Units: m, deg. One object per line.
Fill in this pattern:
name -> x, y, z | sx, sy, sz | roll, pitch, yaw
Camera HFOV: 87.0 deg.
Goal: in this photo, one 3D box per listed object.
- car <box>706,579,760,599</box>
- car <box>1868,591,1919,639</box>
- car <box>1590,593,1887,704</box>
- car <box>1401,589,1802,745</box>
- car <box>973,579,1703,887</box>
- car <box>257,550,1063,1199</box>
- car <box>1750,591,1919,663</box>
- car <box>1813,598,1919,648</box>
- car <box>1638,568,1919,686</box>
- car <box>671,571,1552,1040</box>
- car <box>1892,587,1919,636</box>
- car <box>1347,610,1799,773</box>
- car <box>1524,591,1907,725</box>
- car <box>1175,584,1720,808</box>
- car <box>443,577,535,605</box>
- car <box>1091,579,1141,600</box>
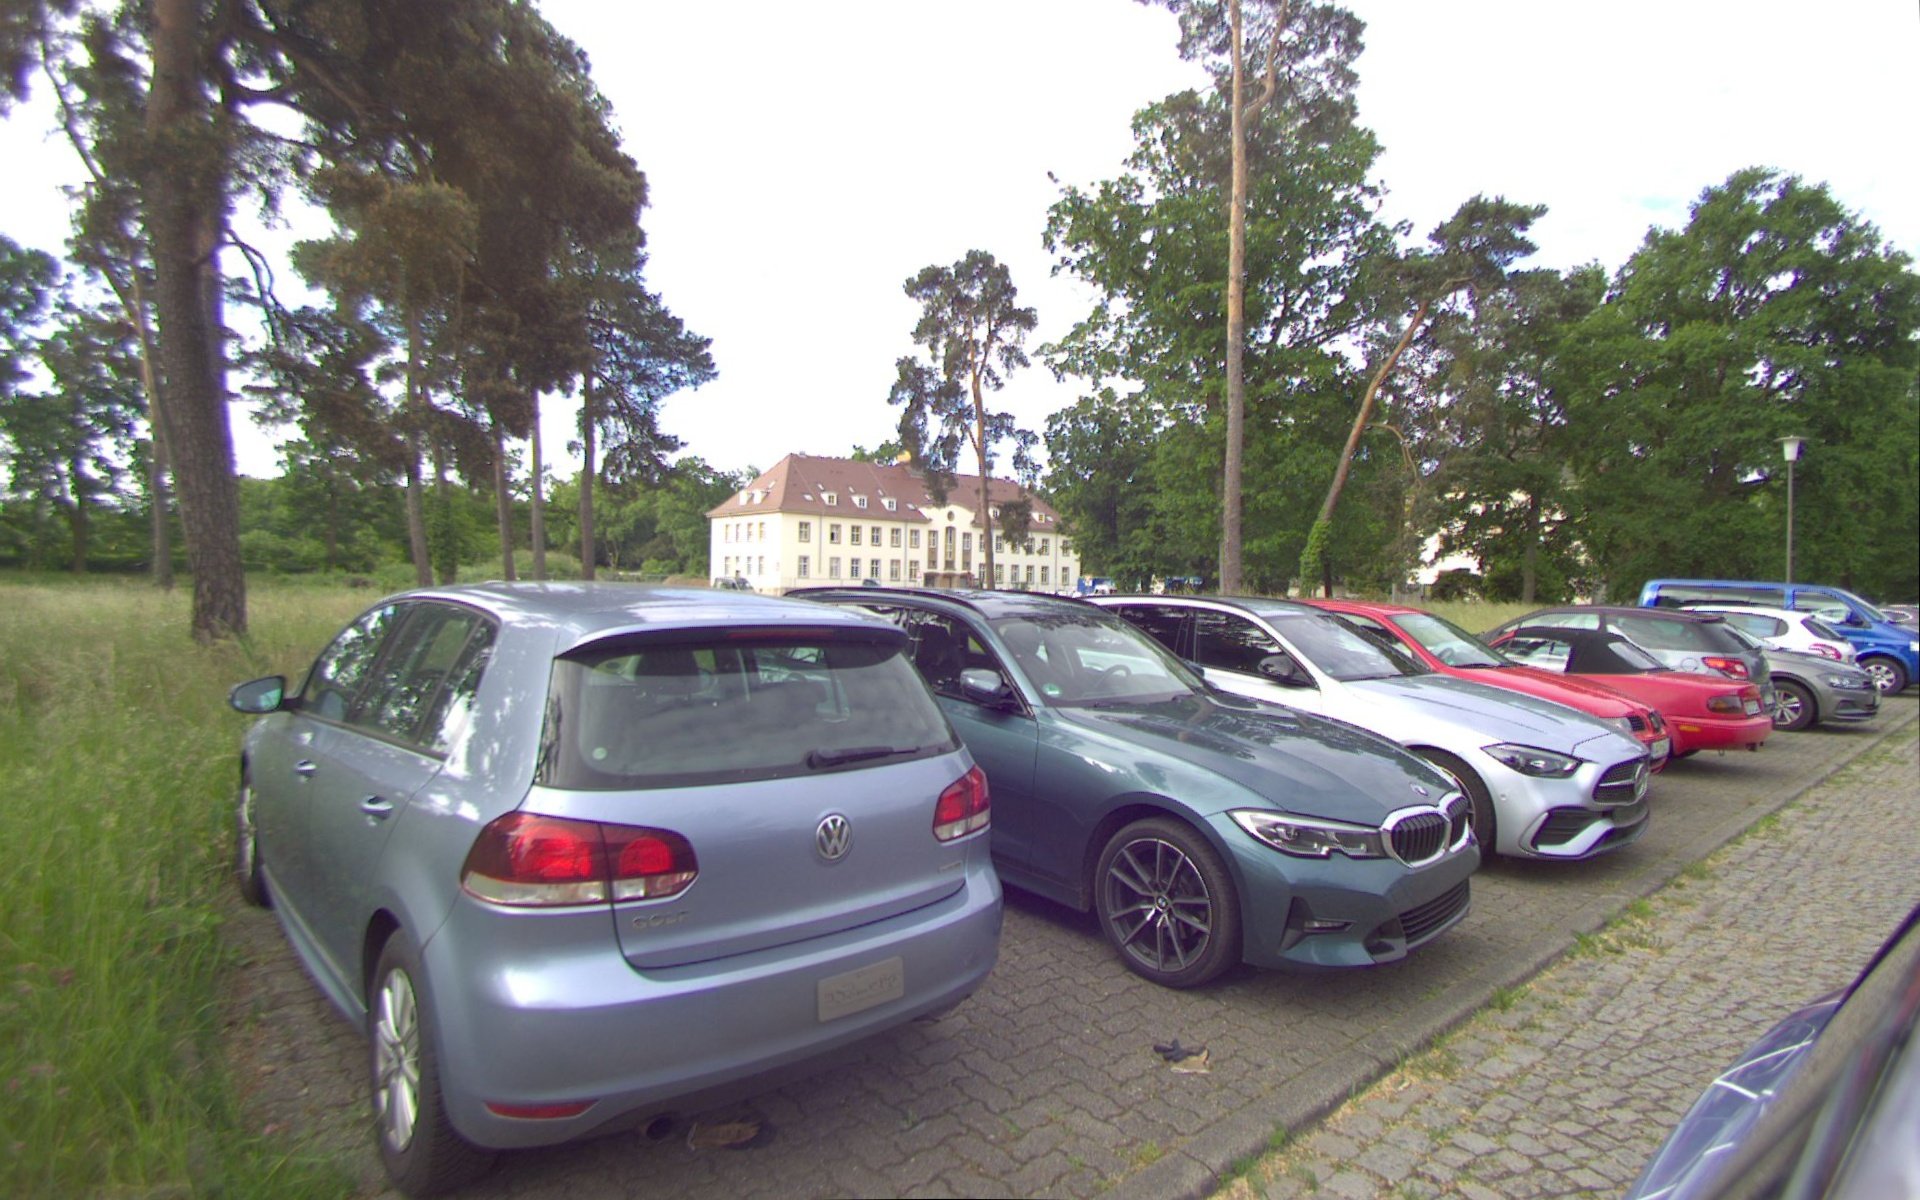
car -> -23.706, -1.153, 105.557 | 6.169, 1.882, 2.305 | 2, 1, 40
car -> 37.594, 0.597, 38.705 | 1.964, 1.784, 4.006 | 0, 1, -39
car -> 12.020, 0.660, 15.779 | 1.608, 1.470, 3.407 | 0, 1, -40
car -> 7.626, 0.672, 12.282 | 1.769, 1.524, 3.781 | 0, 1, -43
car -> 2.338, 0.627, 7.444 | 1.780, 1.501, 4.766 | 0, 1, -40
car -> -1.534, 0.570, 3.963 | 1.578, 1.444, 3.770 | 1, 2, -41
car -> 22.460, 0.636, 25.288 | 1.965, 1.630, 3.995 | 0, 1, -40
car -> 29.906, 0.713, 32.198 | 1.965, 1.549, 3.994 | 0, 0, -40
car -> 16.019, 0.426, 19.308 | 1.965, 1.963, 4.746 | 0, 2, -41
car -> 0.352, 0.614, 5.597 | 1.732, 1.501, 4.761 | 0, 1, -44
car -> 40.986, 0.510, 41.387 | 1.964, 2.039, 3.996 | 0, 1, -39
car -> 5.940, 0.770, 10.140 | 1.468, 1.222, 3.599 | 1, 1, -40
car -> 10.093, 0.662, 13.762 | 1.787, 1.474, 3.849 | 0, 1, -38
car -> 4.056, 0.630, 8.937 | 1.768, 1.470, 3.969 | 0, 1, -41
car -> -25.363, -0.500, 54.527 | 4.181, 1.433, 1.886 | -1, 2, -39
car -> 16.151, -1.091, 104.774 | 5.129, 2.039, 2.154 | 0, 1, -39
